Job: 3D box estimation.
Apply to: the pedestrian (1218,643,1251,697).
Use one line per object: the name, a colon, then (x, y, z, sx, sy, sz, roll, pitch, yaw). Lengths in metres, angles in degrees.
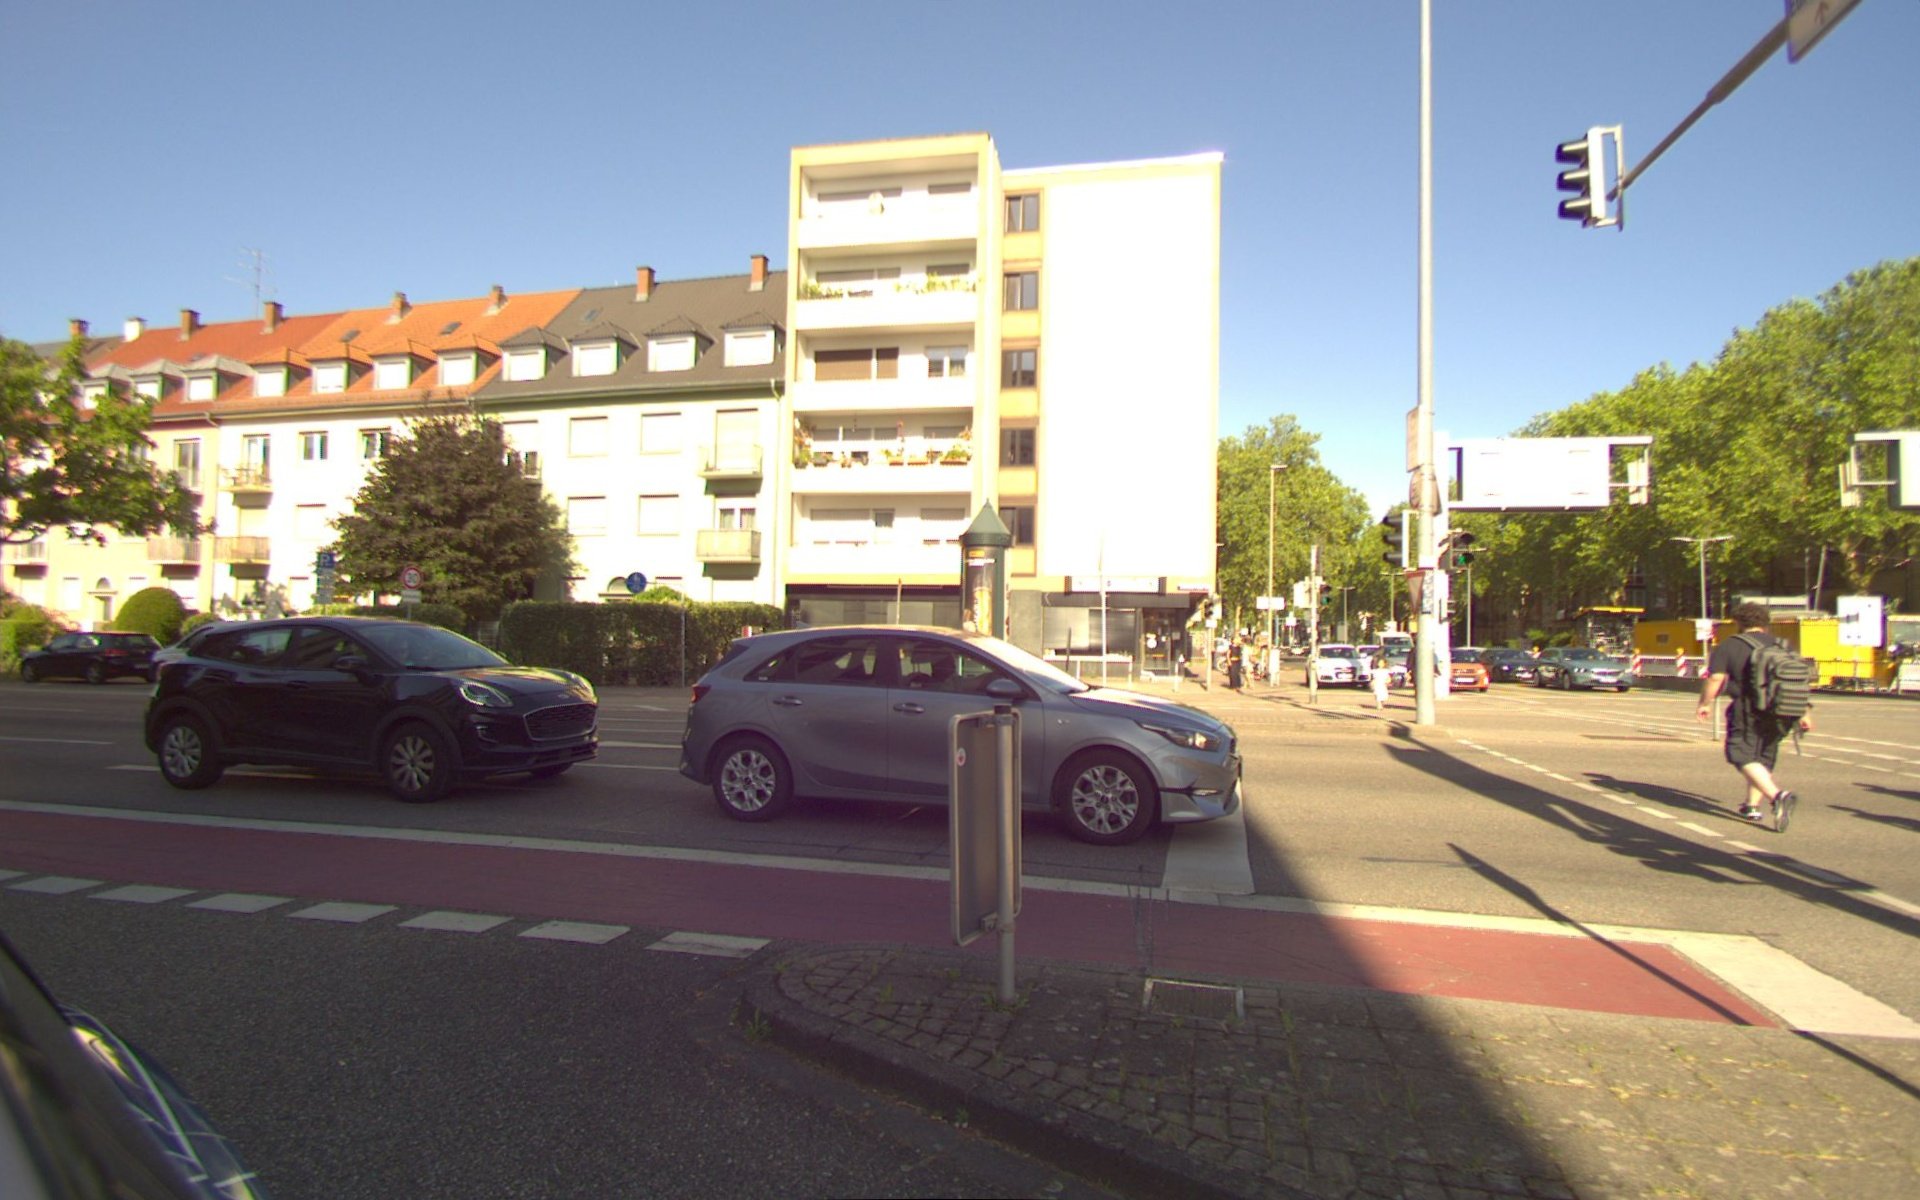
pedestrian: (8.829, 2.236, 32.559, 0.707, 1.692, 0.699, -1, 0, -17)

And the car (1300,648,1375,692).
car: (14.015, 2.635, 37.829, 1.865, 1.531, 4.533, -1, -4, 11)

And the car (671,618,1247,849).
car: (0.077, 0.879, 7.710, 4.021, 1.419, 1.874, -1, -2, 16)

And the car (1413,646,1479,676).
car: (25.730, 3.201, 53.734, 1.861, 1.530, 3.993, 0, -3, 5)

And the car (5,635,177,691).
car: (-24.639, 1.759, 28.714, 4.013, 1.440, 1.796, -1, 0, 16)

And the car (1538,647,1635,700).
car: (21.940, 2.537, 35.611, 1.868, 1.530, 3.979, -1, 0, 16)

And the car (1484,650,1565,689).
car: (23.741, 2.899, 42.712, 1.865, 1.530, 3.984, 0, -3, 12)

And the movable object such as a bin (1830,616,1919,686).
movable object such as a bin: (36.046, 1.912, 39.106, 1.980, 2.494, 3.984, -1, 0, 12)

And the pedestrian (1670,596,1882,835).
pedestrian: (6.145, 0.806, 7.658, 0.783, 1.656, 0.988, -1, 0, -25)

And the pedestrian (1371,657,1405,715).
pedestrian: (9.486, 1.897, 22.444, 0.643, 1.211, 0.523, -1, 0, 20)

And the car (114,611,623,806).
car: (-5.309, 0.892, 9.201, 4.038, 1.503, 1.687, -1, -2, 16)

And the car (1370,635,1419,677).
car: (27.119, 3.488, 63.254, 1.864, 2.532, 4.435, 0, -3, 11)

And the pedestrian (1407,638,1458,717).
pedestrian: (10.169, 1.652, 21.811, 0.891, 1.634, 0.716, -1, 0, 20)

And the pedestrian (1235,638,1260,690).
pedestrian: (9.646, 2.154, 33.958, 0.712, 1.692, 0.694, -1, 0, 11)

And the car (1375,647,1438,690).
car: (18.870, 2.868, 42.898, 1.868, 1.530, 3.979, -1, 0, 16)

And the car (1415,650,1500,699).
car: (16.916, 2.481, 34.621, 1.868, 1.530, 3.979, -1, -2, 16)

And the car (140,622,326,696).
car: (-19.616, 1.563, 27.362, 4.123, 1.871, 1.799, -1, 0, 12)
